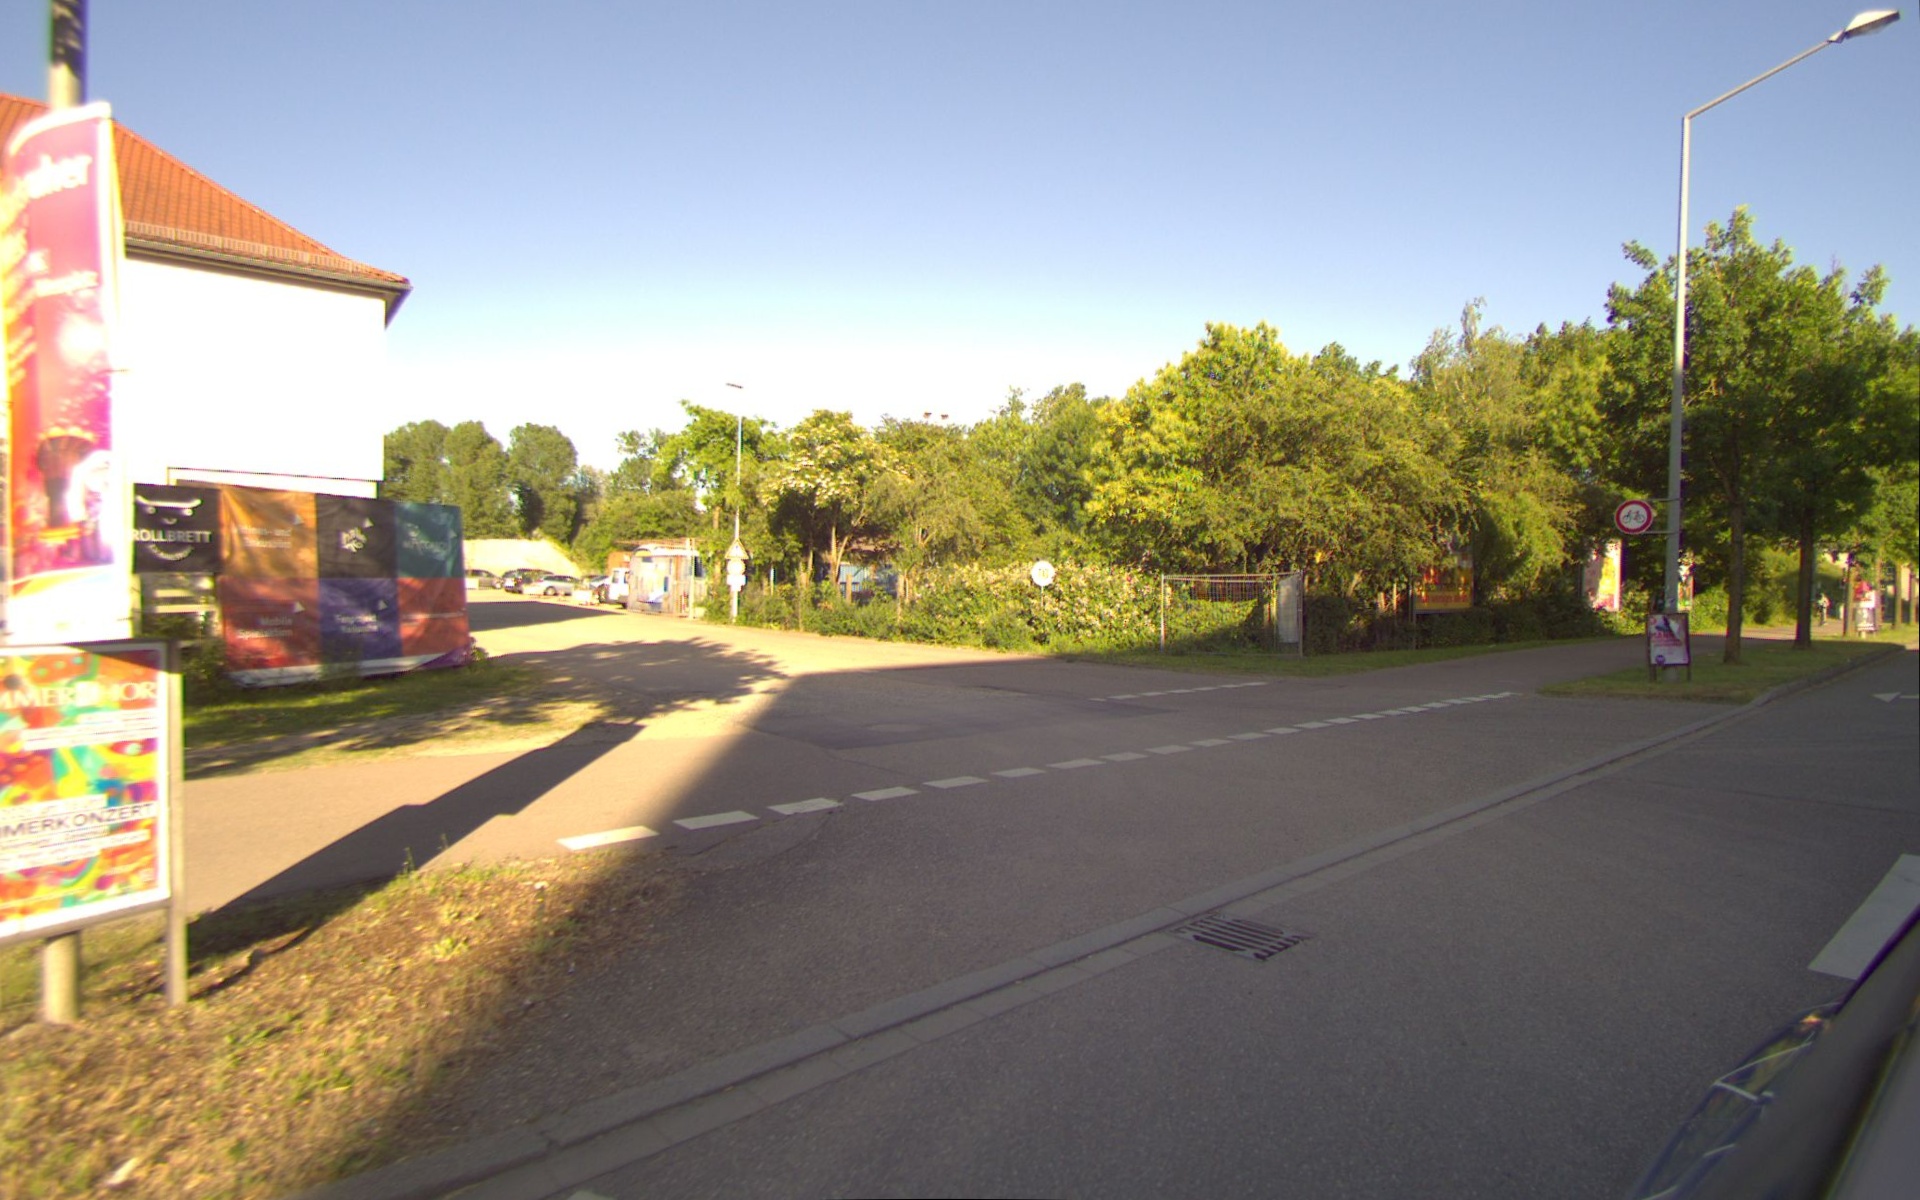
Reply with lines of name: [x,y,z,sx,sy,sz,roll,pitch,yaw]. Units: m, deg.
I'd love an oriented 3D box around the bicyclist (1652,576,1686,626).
bicyclist: [22.154,0.023,31.605,0.685,1.541,1.019,2,1,44]

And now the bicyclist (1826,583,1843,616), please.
bicyclist: [44.884,-0.027,51.933,0.851,1.630,0.565,0,1,-43]

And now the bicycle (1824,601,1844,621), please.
bicycle: [44.891,0.545,51.969,2.012,1.004,0.572,0,1,-43]

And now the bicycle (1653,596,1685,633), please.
bicycle: [22.228,0.436,31.720,0.516,1.086,1.905,2,2,44]
